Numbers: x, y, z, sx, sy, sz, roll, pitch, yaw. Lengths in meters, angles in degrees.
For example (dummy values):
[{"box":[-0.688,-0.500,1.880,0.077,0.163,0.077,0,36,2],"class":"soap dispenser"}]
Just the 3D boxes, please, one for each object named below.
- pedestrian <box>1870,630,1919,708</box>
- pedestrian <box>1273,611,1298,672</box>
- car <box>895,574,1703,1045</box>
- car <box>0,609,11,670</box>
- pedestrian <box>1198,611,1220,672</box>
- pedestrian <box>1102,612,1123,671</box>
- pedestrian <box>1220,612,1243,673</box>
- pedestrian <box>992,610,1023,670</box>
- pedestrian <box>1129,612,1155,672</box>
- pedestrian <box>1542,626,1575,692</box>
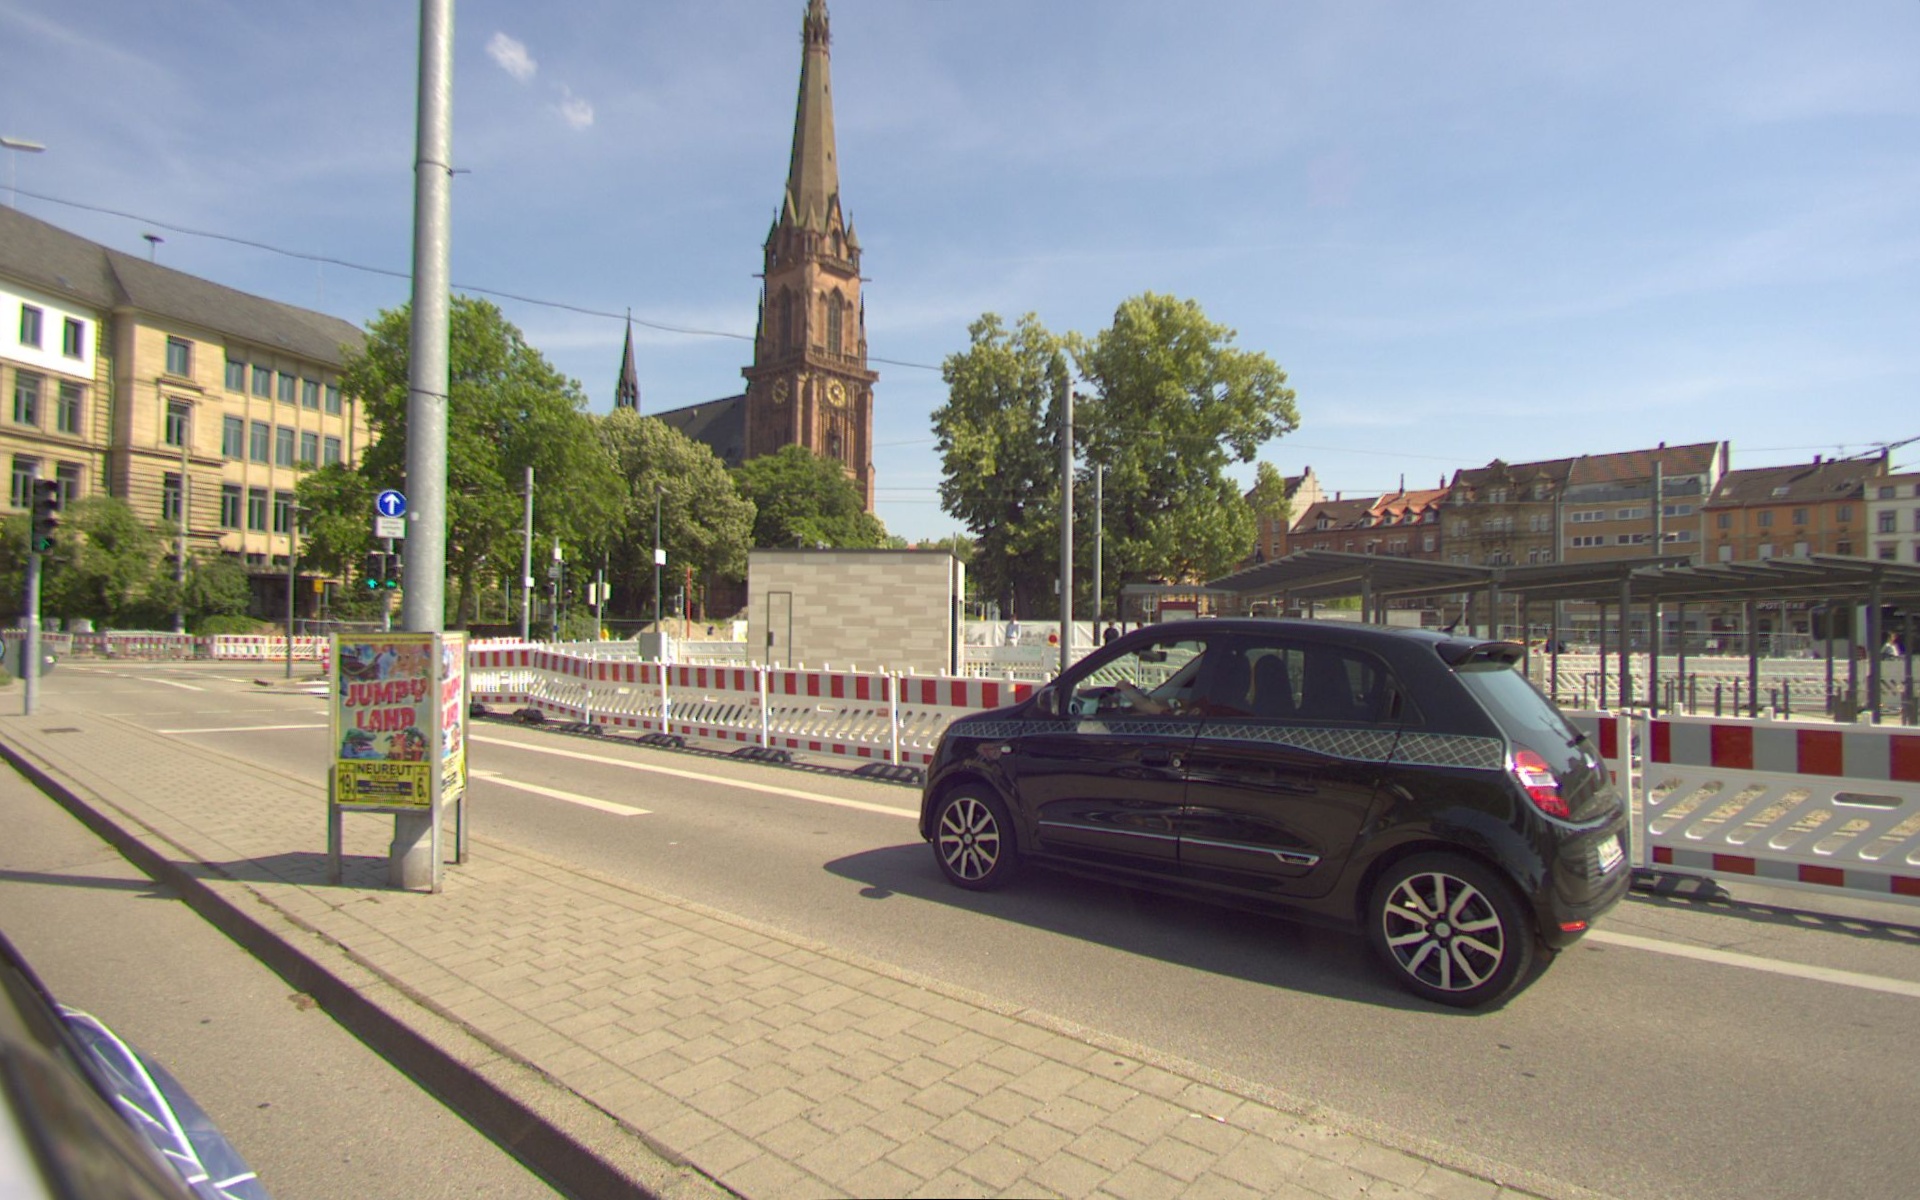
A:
[{"box":[19.730,1.443,21.302,0.607,1.594,0.573,1,-2,5],"class":"pedestrian"},{"box":[11.046,1.400,34.372,0.679,2.029,0.818,0,-2,11],"class":"pedestrian"},{"box":[1.524,0.769,5.271,3.632,1.586,1.643,-1,-3,42],"class":"car"},{"box":[-33.841,1.313,34.218,3.996,2.029,1.974,-1,-3,39],"class":"car"},{"box":[8.376,1.401,34.067,0.679,2.029,0.818,0,-2,11],"class":"pedestrian"},{"box":[5.245,1.426,34.829,0.678,2.029,0.819,0,-2,7],"class":"pedestrian"},{"box":[9.083,1.420,33.911,0.679,2.029,0.818,0,-2,11],"class":"pedestrian"},{"box":[1.647,1.370,34.762,0.686,2.029,0.809,-1,-3,43],"class":"pedestrian"},{"box":[6.220,1.436,34.610,0.810,2.029,0.685,1,-2,6],"class":"pedestrian"},{"box":[18.800,1.844,31.812,0.680,2.029,0.816,0,-2,16],"class":"pedestrian"}]
